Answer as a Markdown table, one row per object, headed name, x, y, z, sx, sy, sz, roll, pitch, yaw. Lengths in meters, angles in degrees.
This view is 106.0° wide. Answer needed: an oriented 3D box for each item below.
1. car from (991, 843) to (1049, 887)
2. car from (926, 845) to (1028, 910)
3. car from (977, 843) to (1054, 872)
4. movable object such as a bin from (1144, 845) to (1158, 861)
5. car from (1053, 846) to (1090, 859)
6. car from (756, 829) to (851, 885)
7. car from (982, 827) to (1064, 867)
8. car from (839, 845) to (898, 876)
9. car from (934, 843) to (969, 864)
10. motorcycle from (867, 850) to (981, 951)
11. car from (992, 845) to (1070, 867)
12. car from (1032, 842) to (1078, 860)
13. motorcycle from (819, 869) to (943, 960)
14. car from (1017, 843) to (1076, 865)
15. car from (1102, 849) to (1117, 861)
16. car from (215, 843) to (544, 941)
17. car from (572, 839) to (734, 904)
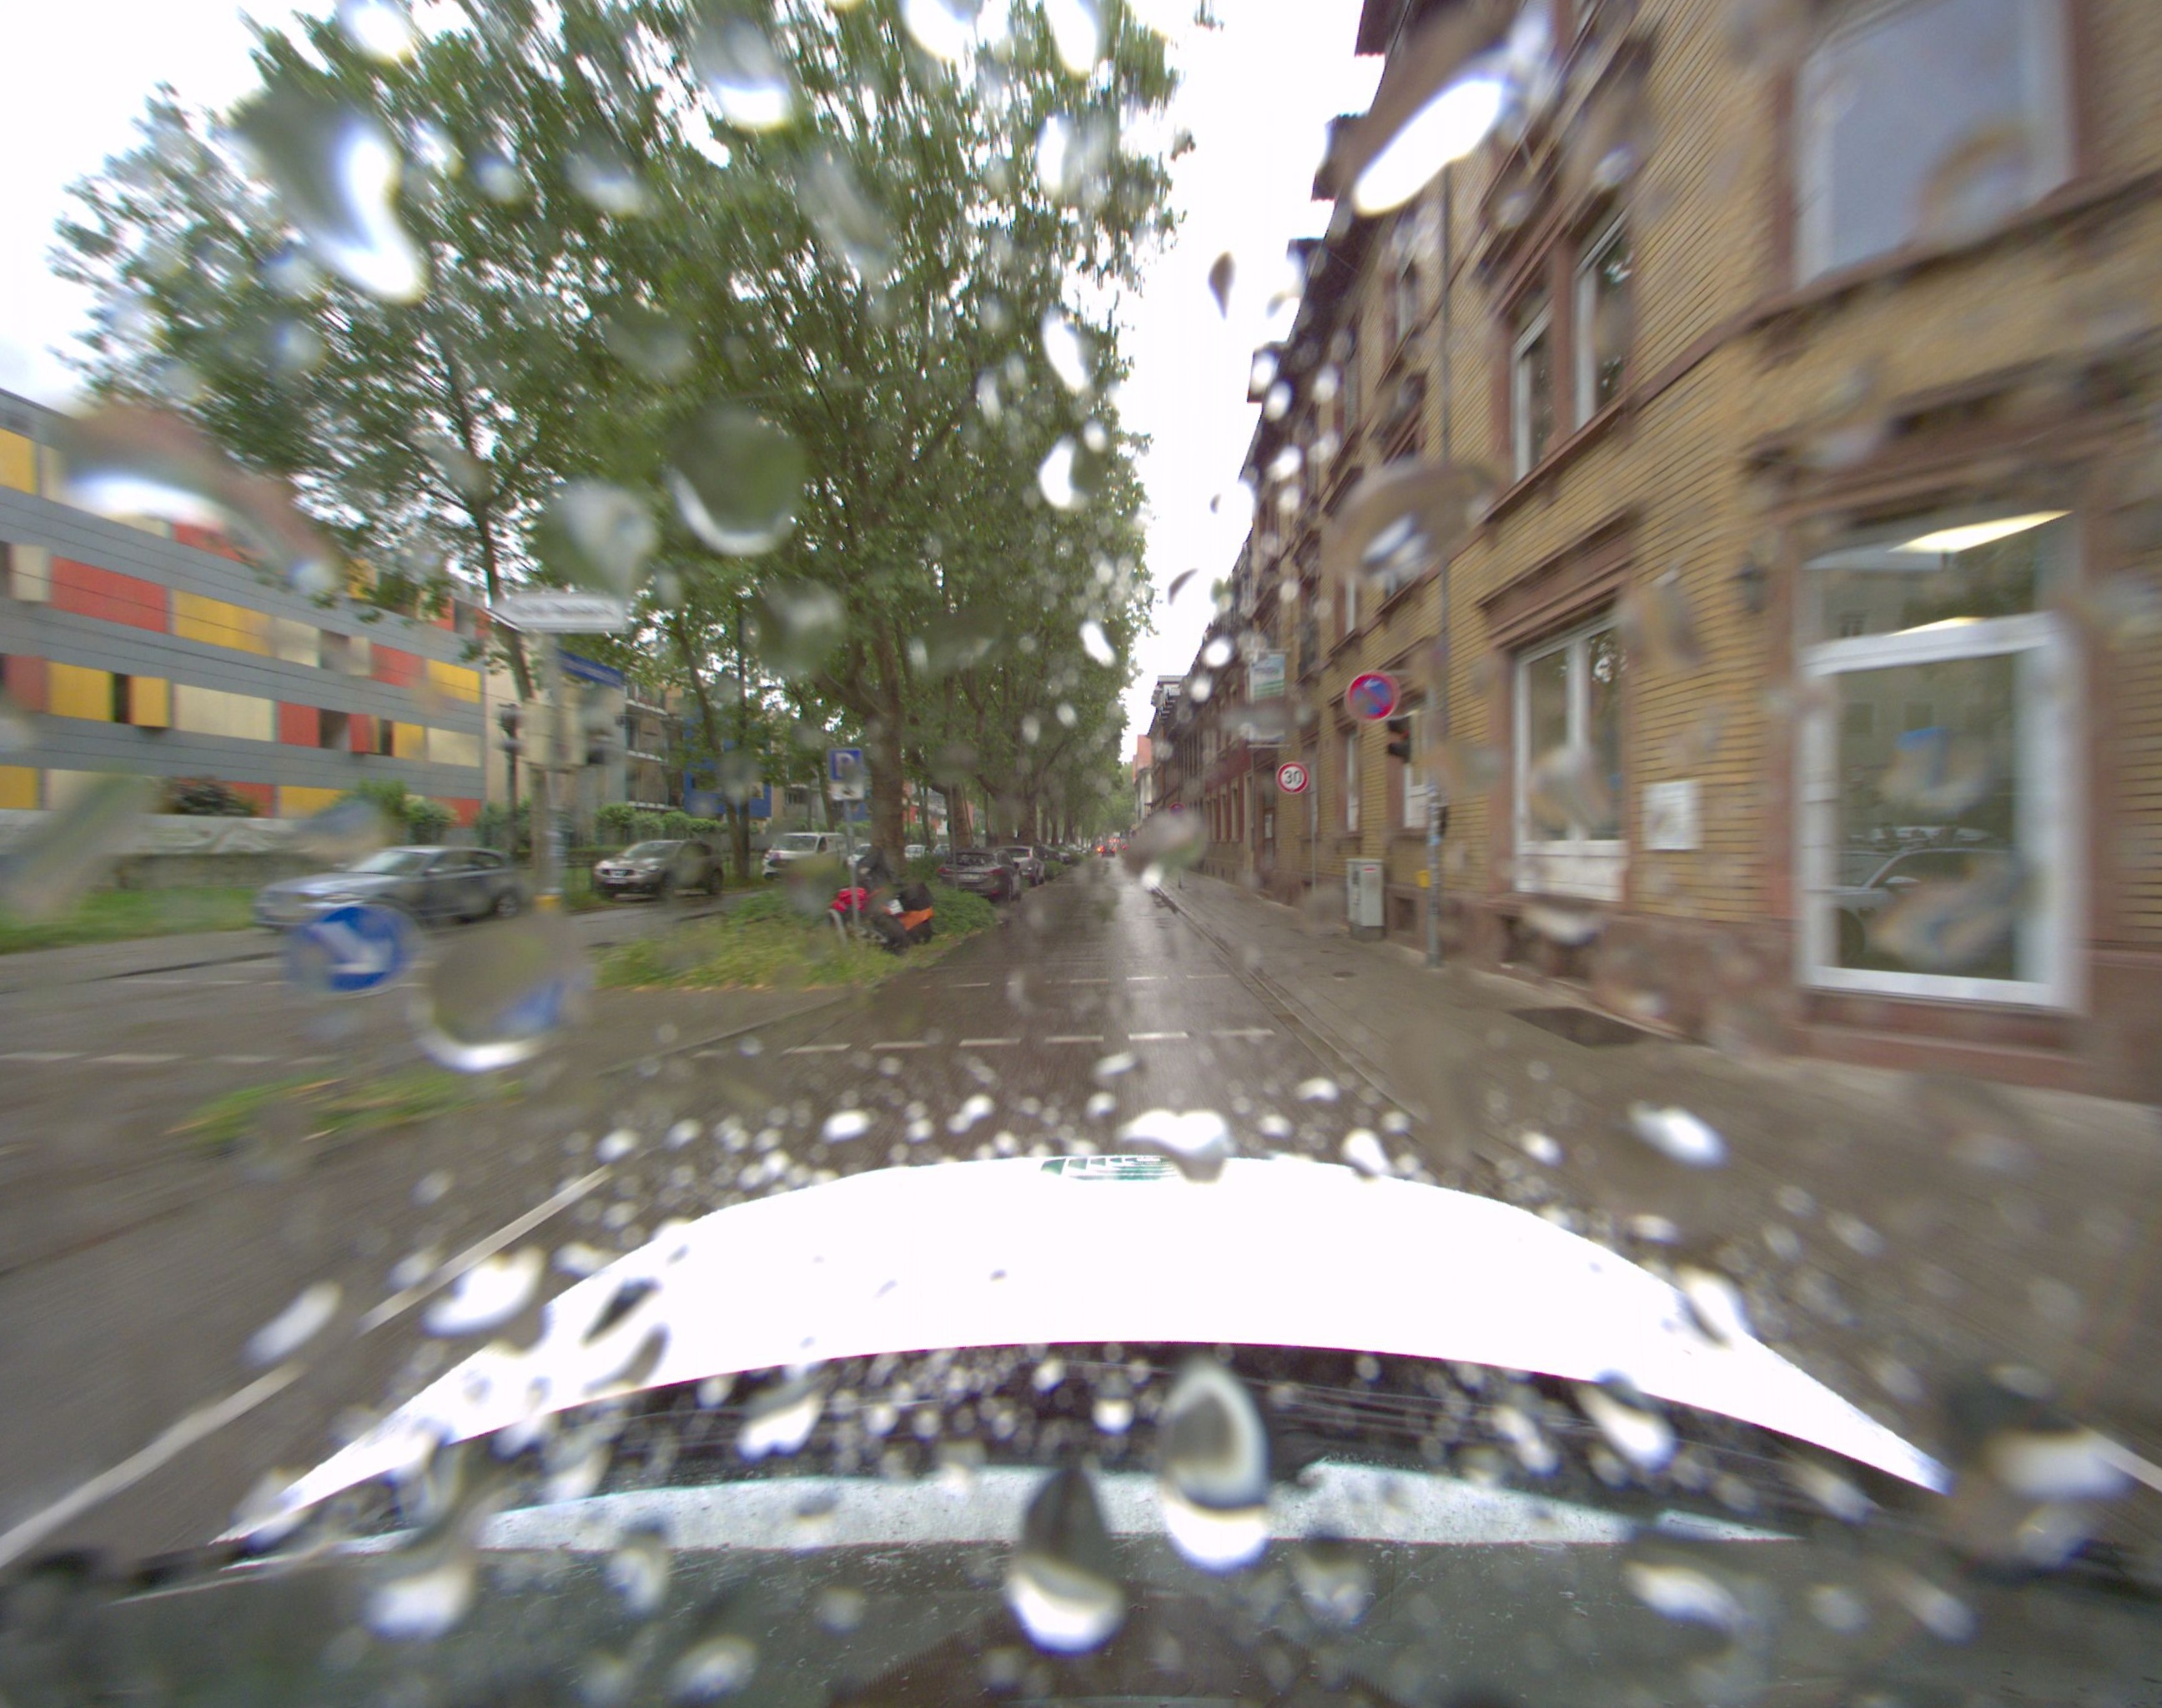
| name | x | y | z | sx | sy | sz | roll | pitch | yaw |
| --- | --- | --- | --- | --- | --- | --- | --- | --- | --- |
| car | -2.239 | 0.351 | 30.986 | 1.723 | 1.514 | 4.209 | 1 | 1 | 2 |
| car | -2.586 | 0.524 | 21.337 | 1.889 | 1.485 | 4.624 | 1 | 1 | 2 |
| car | -3.362 | 0.179 | 41.630 | 3.459 | 1.436 | 1.792 | -1 | 1 | 29 |
| movable object such as a bin | 5.919 | -0.087 | 68.799 | 1.017 | 1.301 | 1.367 | -4 | 1 | 1 |
| car | -1.264 | -0.168 | 105.403 | 4.502 | 1.482 | 1.786 | -1 | 0 | 32 |
| car | -10.998 | 0.068 | 32.731 | 2.048 | 1.997 | 5.431 | 2 | 1 | -2 |
| car | -3.463 | -0.408 | 48.612 | 4.600 | 2.283 | 2.025 | -1 | 1 | 35 |
| car | -10.956 | 0.302 | 42.209 | 1.898 | 1.534 | 4.216 | 0 | 1 | 0 |
| car | -9.705 | -0.080 | 61.285 | 1.898 | 1.534 | 4.216 | 0 | 1 | 0 |
| motorcycle | -2.587 | 0.695 | 13.260 | 2.083 | 1.500 | 0.776 | 1 | 0 | 45 |
| car | -3.193 | 0.119 | 51.411 | 4.601 | 1.325 | 1.858 | -1 | 1 | 29 |
| car | -3.079 | -0.356 | 95.928 | 5.065 | 1.977 | 2.116 | -1 | 0 | 32 |
| motorcycle | -3.072 | 0.859 | 12.360 | 0.874 | 1.209 | 2.116 | 1 | 0 | -44 |
| car | -2.540 | -0.037 | 59.690 | 4.013 | 1.537 | 1.847 | 1 | 1 | 32 |
| car | 3.777 | 0.122 | 107.686 | 1.986 | 1.640 | 4.002 | 1 | 0 | 2 |
| car | -12.074 | 0.543 | 14.527 | 1.896 | 1.463 | 4.392 | 0 | 1 | 3 |
| car | -11.387 | 0.392 | 22.102 | 1.897 | 1.600 | 4.470 | 0 | 1 | 2 |
